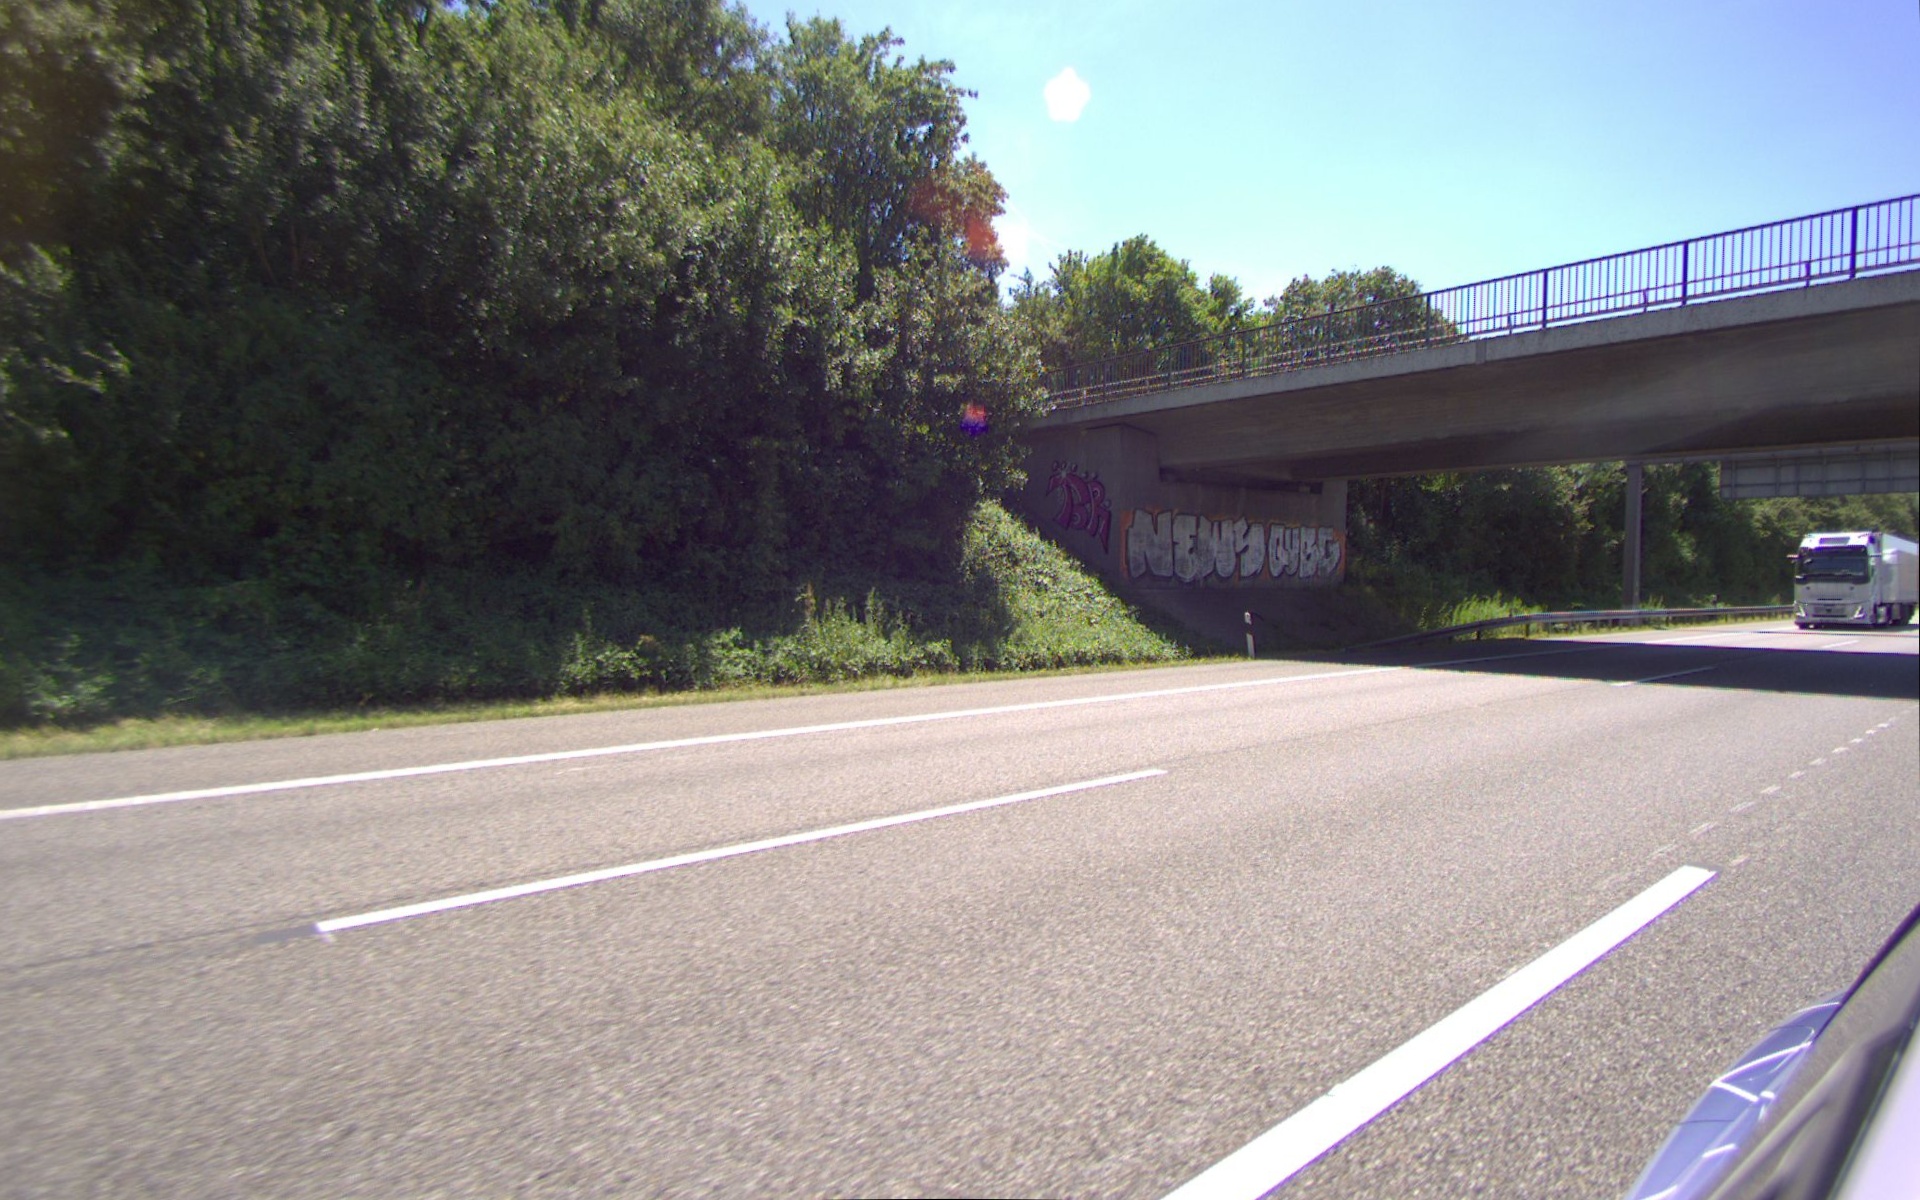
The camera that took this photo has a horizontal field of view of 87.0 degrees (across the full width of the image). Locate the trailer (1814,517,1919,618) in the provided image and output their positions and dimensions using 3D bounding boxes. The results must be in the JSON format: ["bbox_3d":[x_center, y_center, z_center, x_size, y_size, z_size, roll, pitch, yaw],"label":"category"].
[{"bbox_3d":[43.985,-1.428,48.284,13.596,4.278,3.044,0,1,-42],"label":"trailer"}]

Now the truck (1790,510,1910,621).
[{"bbox_3d":[37.244,-1.366,42.291,5.944,4.268,3.052,0,0,-41],"label":"truck"}]
